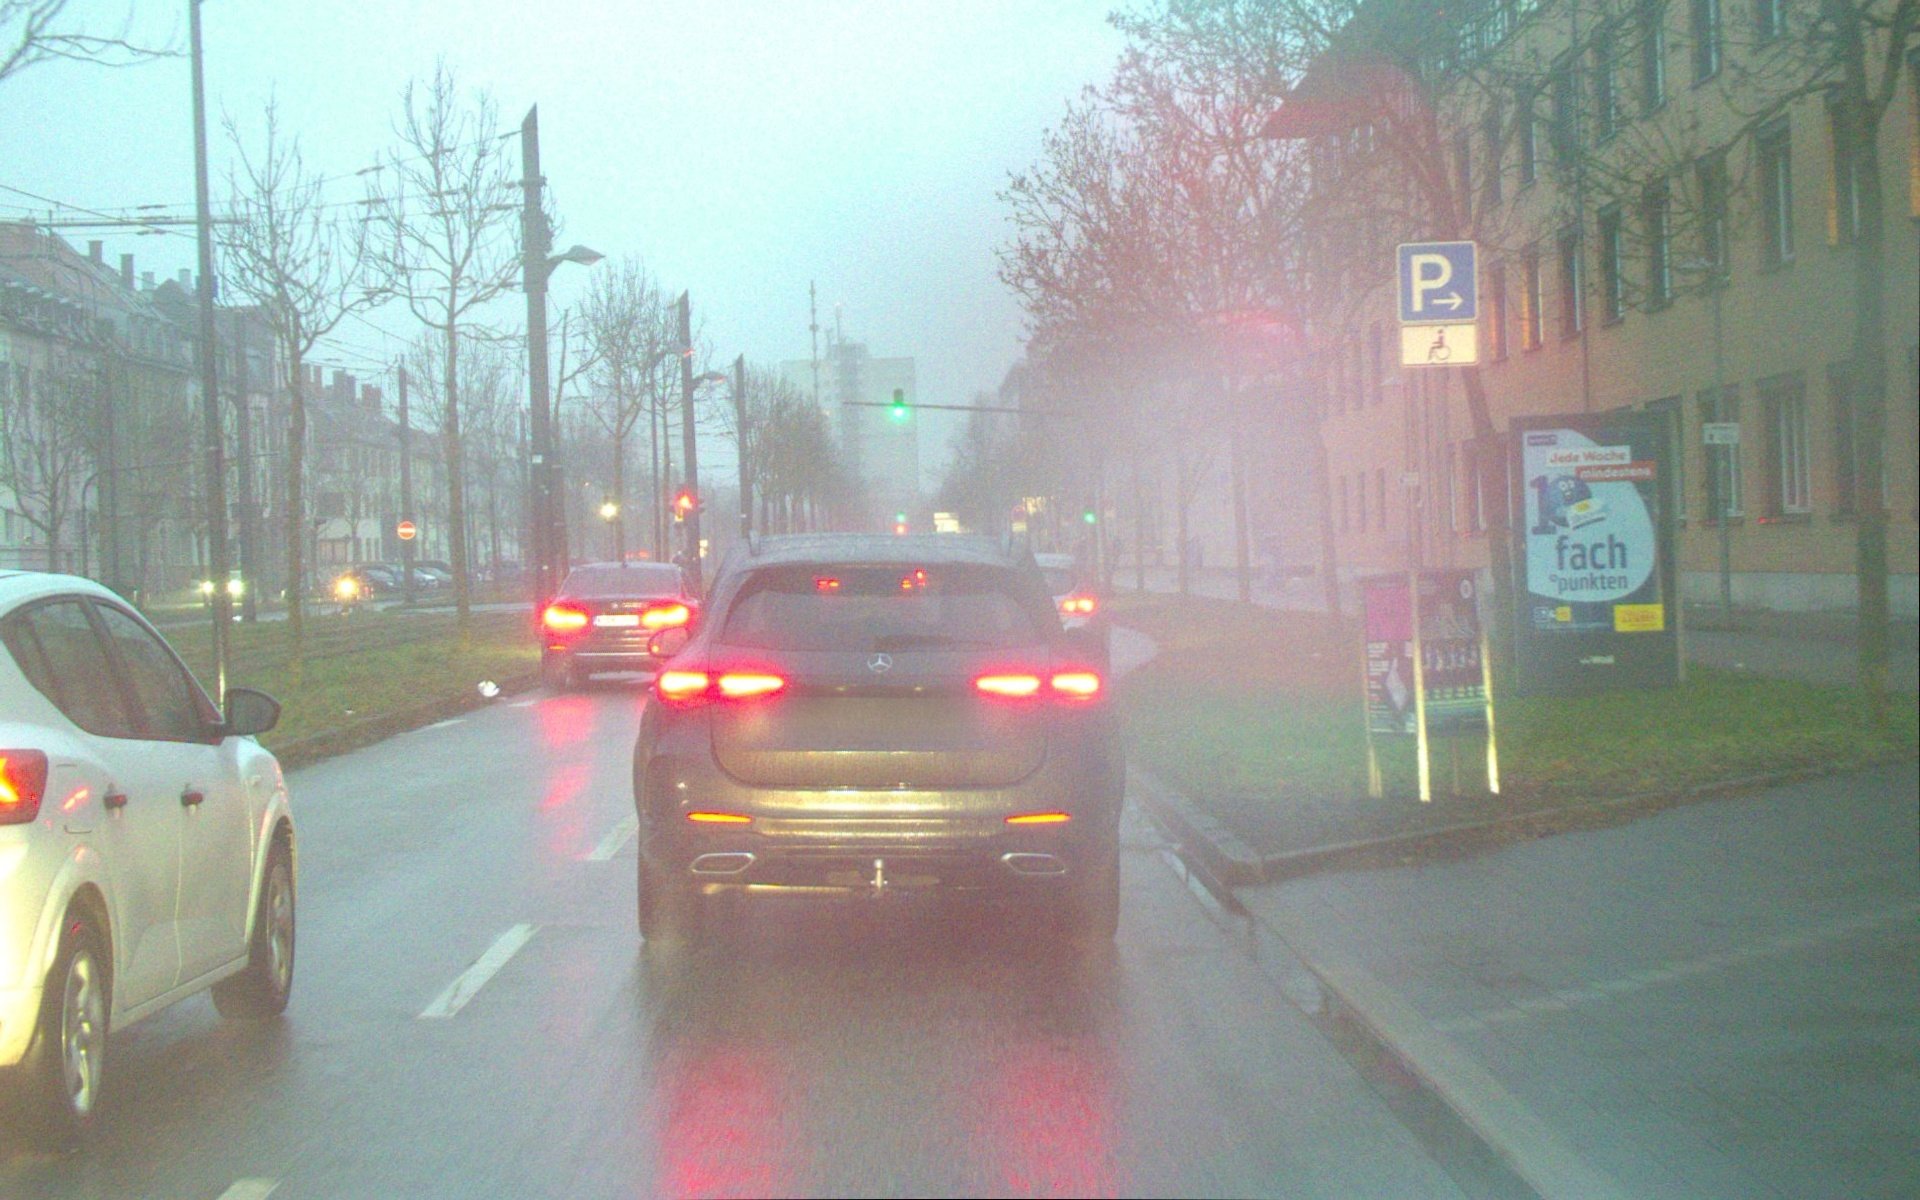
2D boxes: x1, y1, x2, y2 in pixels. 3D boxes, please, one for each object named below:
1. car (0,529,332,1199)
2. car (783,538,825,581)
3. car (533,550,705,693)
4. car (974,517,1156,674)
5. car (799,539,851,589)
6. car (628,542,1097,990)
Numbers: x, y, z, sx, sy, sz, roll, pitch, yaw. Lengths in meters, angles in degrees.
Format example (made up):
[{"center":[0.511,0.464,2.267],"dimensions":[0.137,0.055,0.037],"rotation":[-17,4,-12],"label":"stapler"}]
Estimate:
[{"center":[-2.977,0.626,9.723],"dimensions":[1.672,1.594,4.054],"rotation":[-1,1,0],"label":"car"},{"center":[-7.679,-1.987,169.073],"dimensions":[1.816,2.007,4.000],"rotation":[-2,1,0],"label":"car"},{"center":[-4.011,0.224,40.961],"dimensions":[1.672,1.594,4.054],"rotation":[-1,1,0],"label":"car"},{"center":[1.214,-0.076,41.559],"dimensions":[1.993,1.738,4.000],"rotation":[-2,1,0],"label":"car"},{"center":[-5.447,-1.468,139.060],"dimensions":[1.993,1.908,4.000],"rotation":[-3,1,-2],"label":"car"},{"center":[-0.368,0.577,14.424],"dimensions":[1.672,1.594,4.054],"rotation":[-1,1,0],"label":"car"}]
